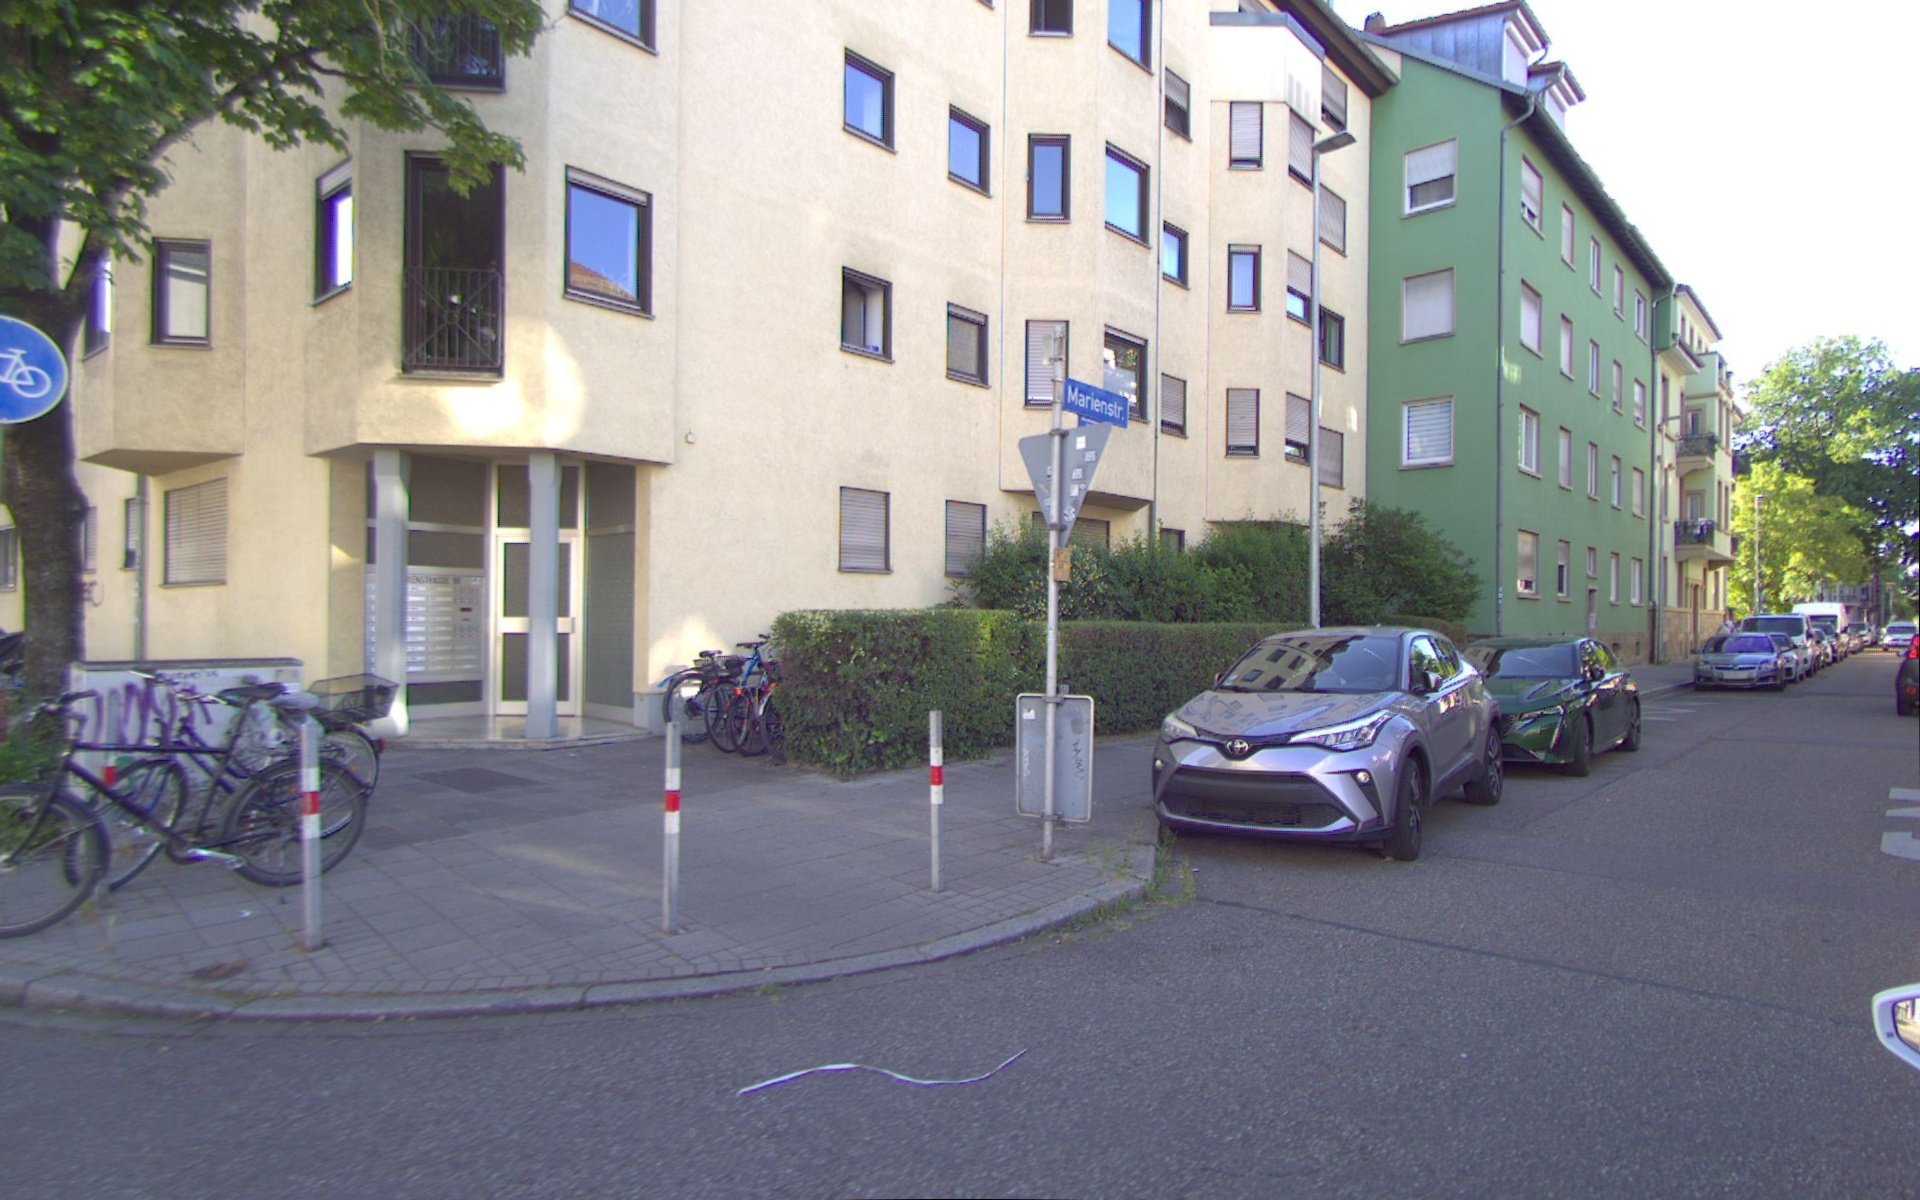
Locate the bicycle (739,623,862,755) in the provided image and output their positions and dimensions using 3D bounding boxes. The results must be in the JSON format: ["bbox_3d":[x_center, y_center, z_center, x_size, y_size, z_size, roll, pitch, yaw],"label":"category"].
[{"bbox_3d":[-1.533,0.825,9.822,0.326,1.159,1.389,1,1,35],"label":"bicycle"}]

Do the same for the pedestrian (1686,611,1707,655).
[{"bbox_3d":[32.843,1.453,44.787,0.676,1.944,0.615,1,0,39],"label":"pedestrian"}]

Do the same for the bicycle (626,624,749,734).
[{"bbox_3d":[-2.885,0.810,10.736,0.326,1.060,1.389,1,1,35],"label":"bicycle"}]

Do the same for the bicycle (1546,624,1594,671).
[{"bbox_3d":[16.359,1.249,26.908,0.545,1.194,2.264,5,3,44],"label":"bicycle"}]

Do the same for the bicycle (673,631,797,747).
[{"bbox_3d":[-2.280,0.876,10.294,0.326,1.060,1.389,1,1,35],"label":"bicycle"}]

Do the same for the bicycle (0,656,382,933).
[{"bbox_3d":[-3.894,0.850,4.794,0.586,1.099,1.875,1,0,39],"label":"bicycle"}]

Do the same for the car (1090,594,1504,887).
[{"bbox_3d":[2.858,0.874,7.929,1.880,1.681,3.984,-1,-2,38],"label":"car"}]

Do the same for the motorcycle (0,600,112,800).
[{"bbox_3d":[-7.520,0.726,7.271,0.708,1.466,1.971,1,0,30],"label":"motorcycle"}]

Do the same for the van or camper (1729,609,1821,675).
[{"bbox_3d":[27.296,1.351,33.584,1.973,2.040,4.881,0,-1,44],"label":"van or camper"}]

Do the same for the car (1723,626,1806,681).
[{"bbox_3d":[23.464,1.507,29.241,1.668,1.473,3.690,0,-1,42],"label":"car"}]

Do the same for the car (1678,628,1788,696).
[{"bbox_3d":[19.735,1.509,25.577,1.956,1.475,4.093,2,1,41],"label":"car"}]

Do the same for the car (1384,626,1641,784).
[{"bbox_3d":[6.597,1.072,11.781,1.733,1.517,4.113,-2,-2,42],"label":"car"}]

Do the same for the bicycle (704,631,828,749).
[{"bbox_3d":[-1.921,0.866,10.095,0.326,1.060,1.389,1,1,35],"label":"bicycle"}]

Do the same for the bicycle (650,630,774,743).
[{"bbox_3d":[-2.570,0.869,10.525,0.326,1.060,1.389,1,1,35],"label":"bicycle"}]

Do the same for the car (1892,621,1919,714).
[{"bbox_3d":[17.652,1.170,17.862,1.540,1.553,3.465,1,0,44],"label":"car"}]

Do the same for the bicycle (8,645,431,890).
[{"bbox_3d":[-4.030,0.828,5.613,0.586,1.099,1.804,1,0,39],"label":"bicycle"}]
